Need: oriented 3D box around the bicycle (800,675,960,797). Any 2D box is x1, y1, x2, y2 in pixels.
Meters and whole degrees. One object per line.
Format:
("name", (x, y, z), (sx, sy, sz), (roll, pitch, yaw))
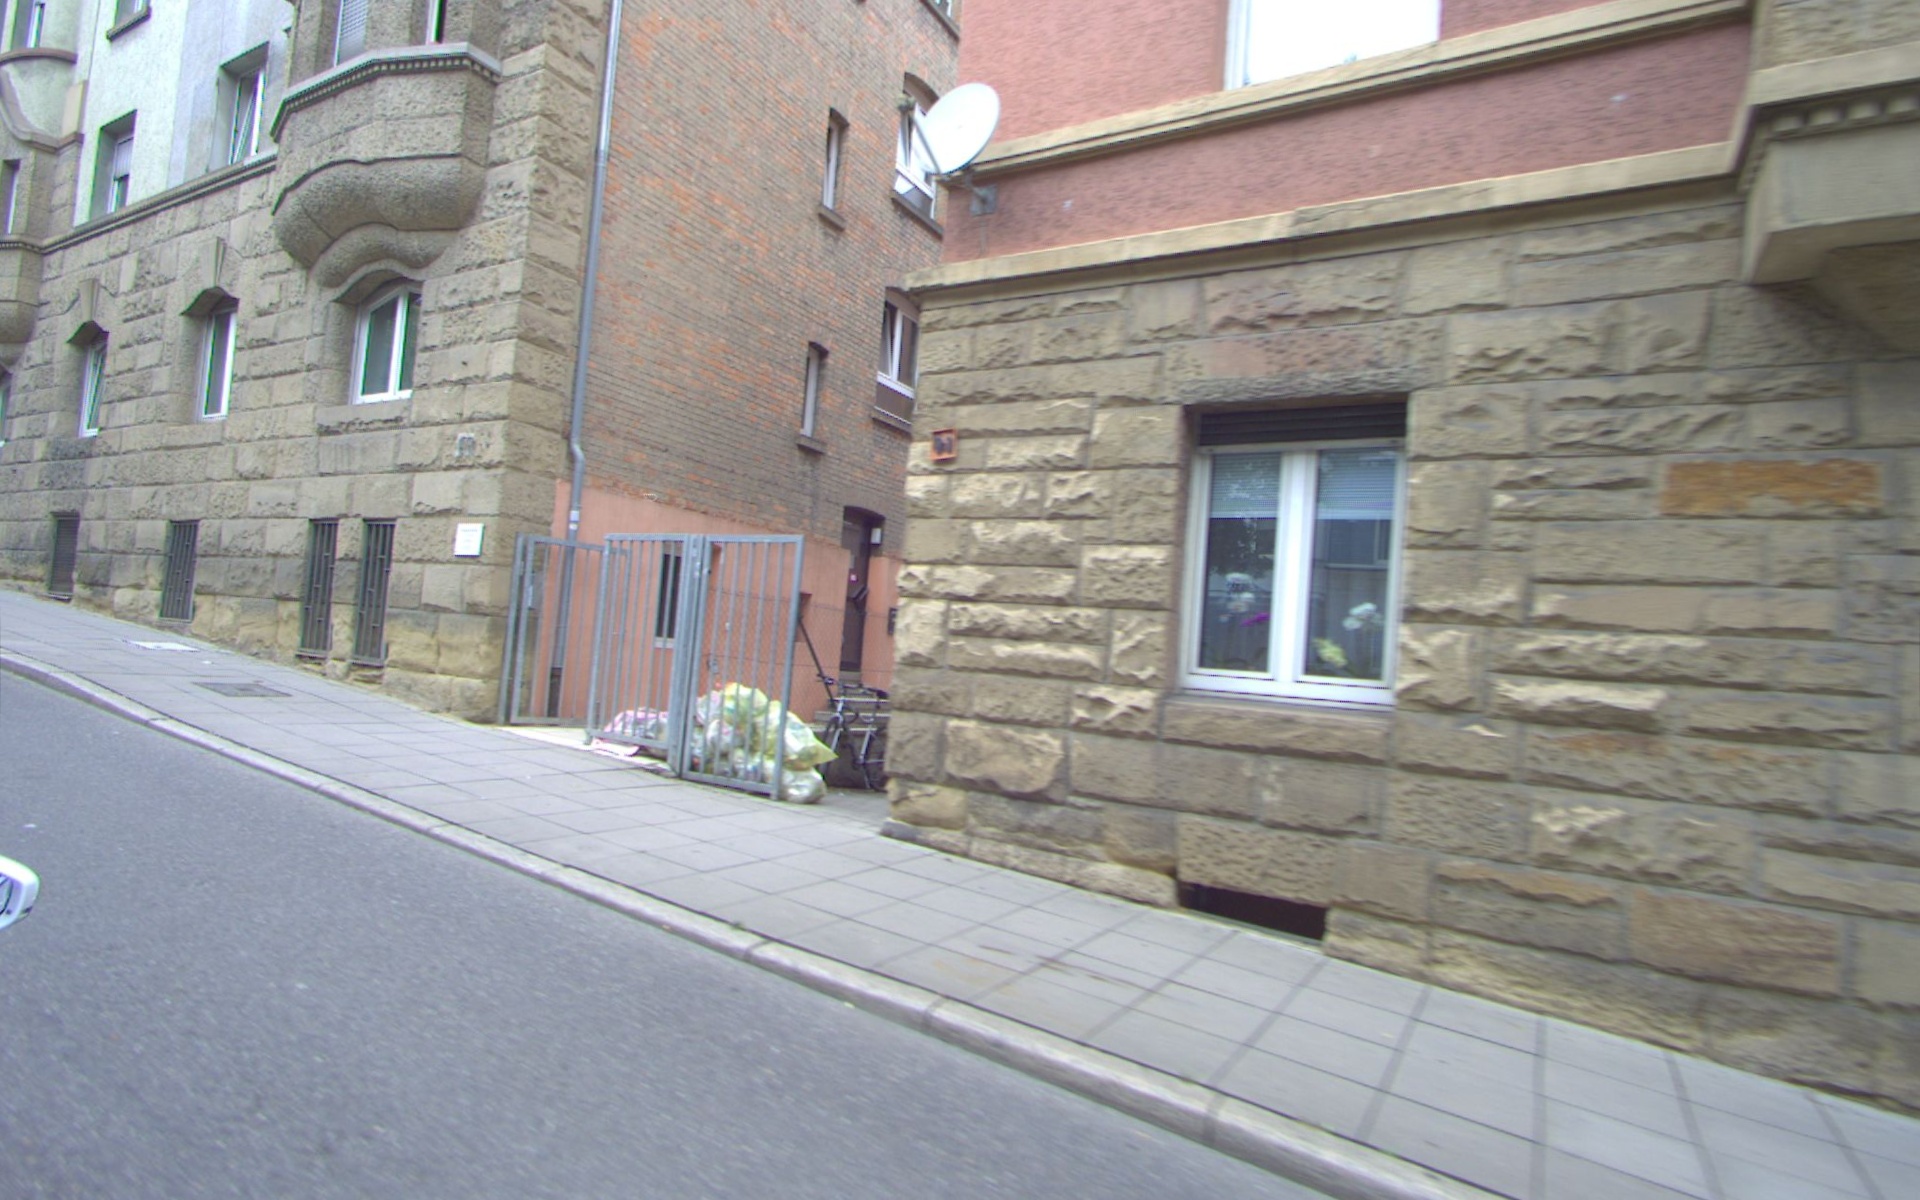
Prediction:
("bicycle", (-0.774, 1.460, 10.514), (0.542, 1.052, 1.933), (6, -8, 30))
